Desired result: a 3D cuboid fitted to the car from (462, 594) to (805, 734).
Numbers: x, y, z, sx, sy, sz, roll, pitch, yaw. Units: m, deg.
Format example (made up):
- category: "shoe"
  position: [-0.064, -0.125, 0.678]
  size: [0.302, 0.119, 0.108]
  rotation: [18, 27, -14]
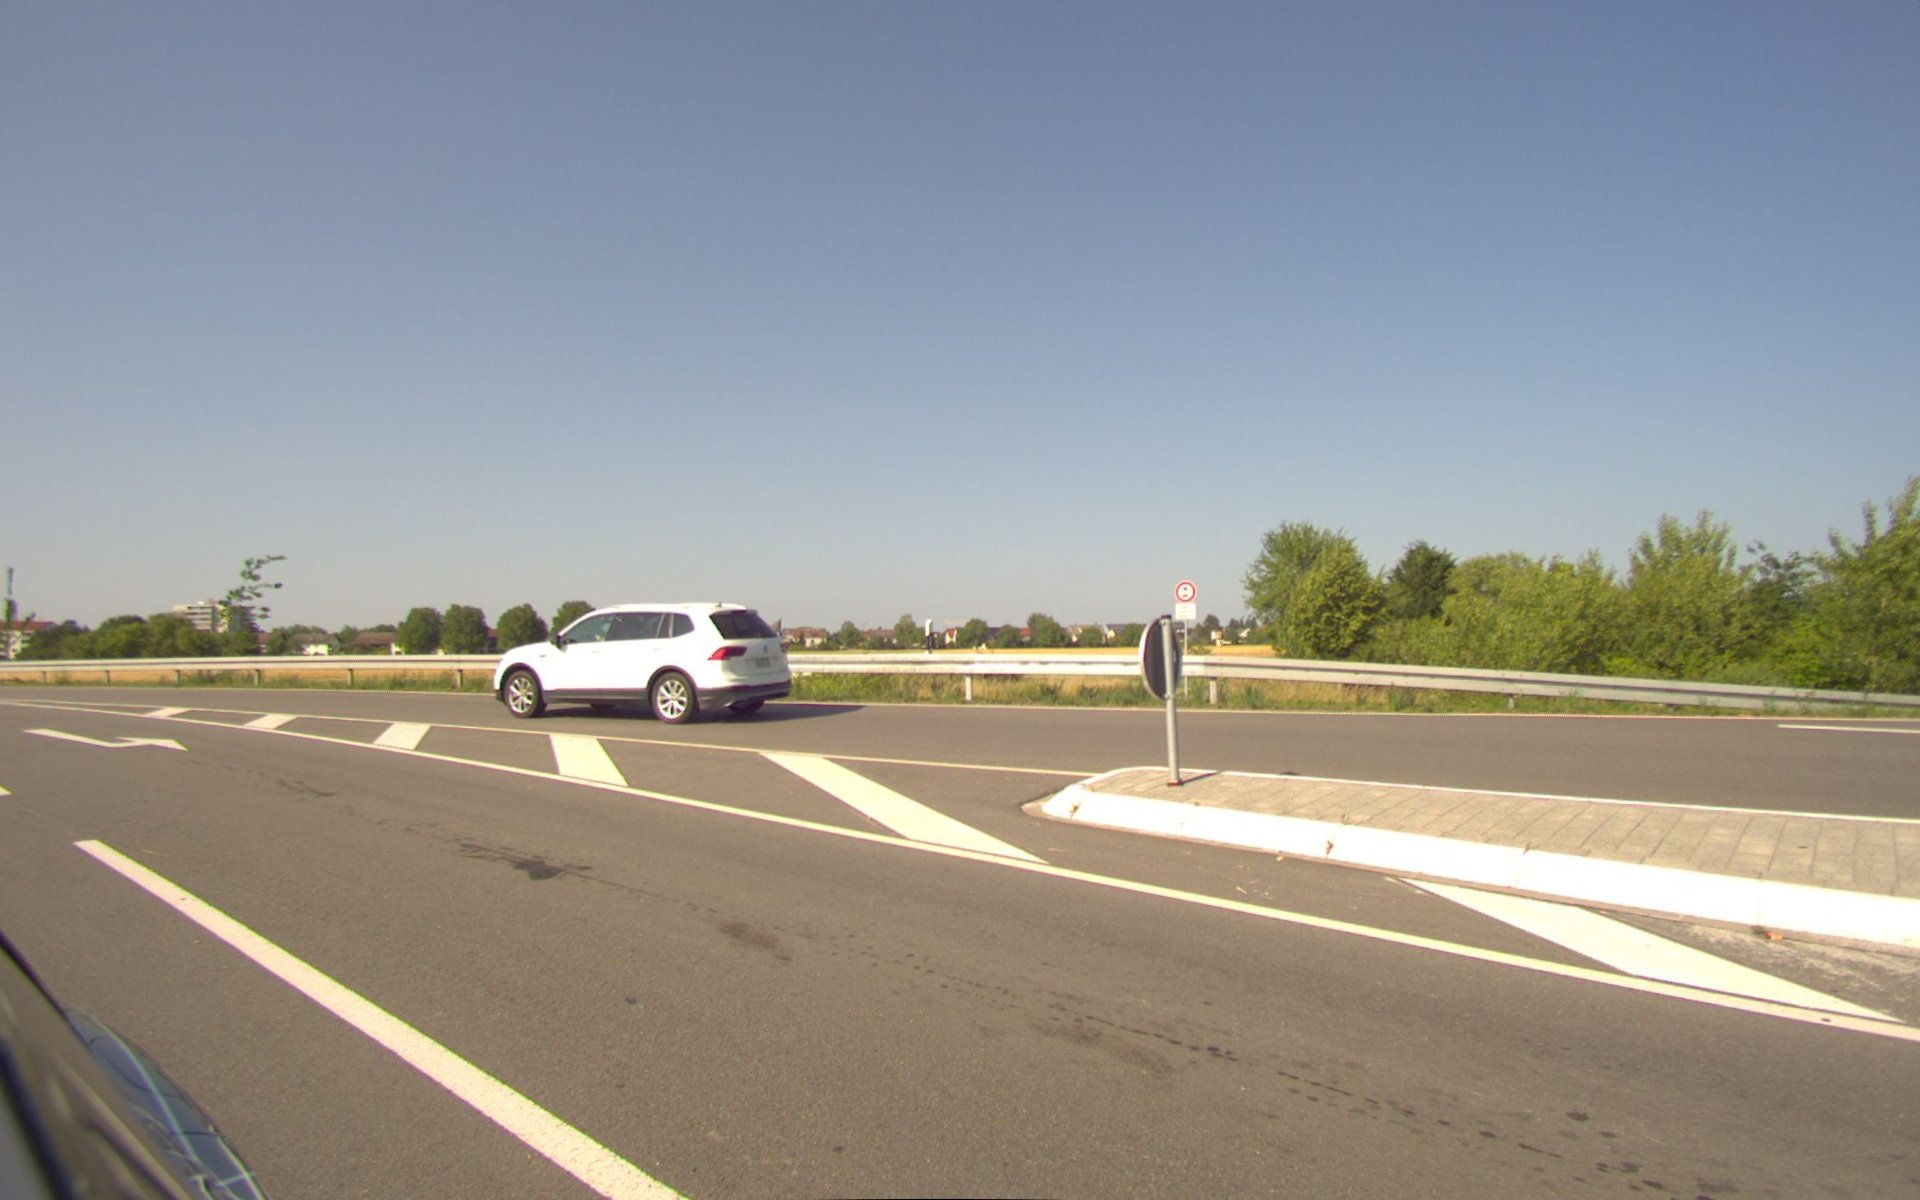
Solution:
- category: "car"
  position: [-4.784, 0.830, 14.729]
  size: [4.833, 1.686, 1.684]
  rotation: [2, 0, 24]
